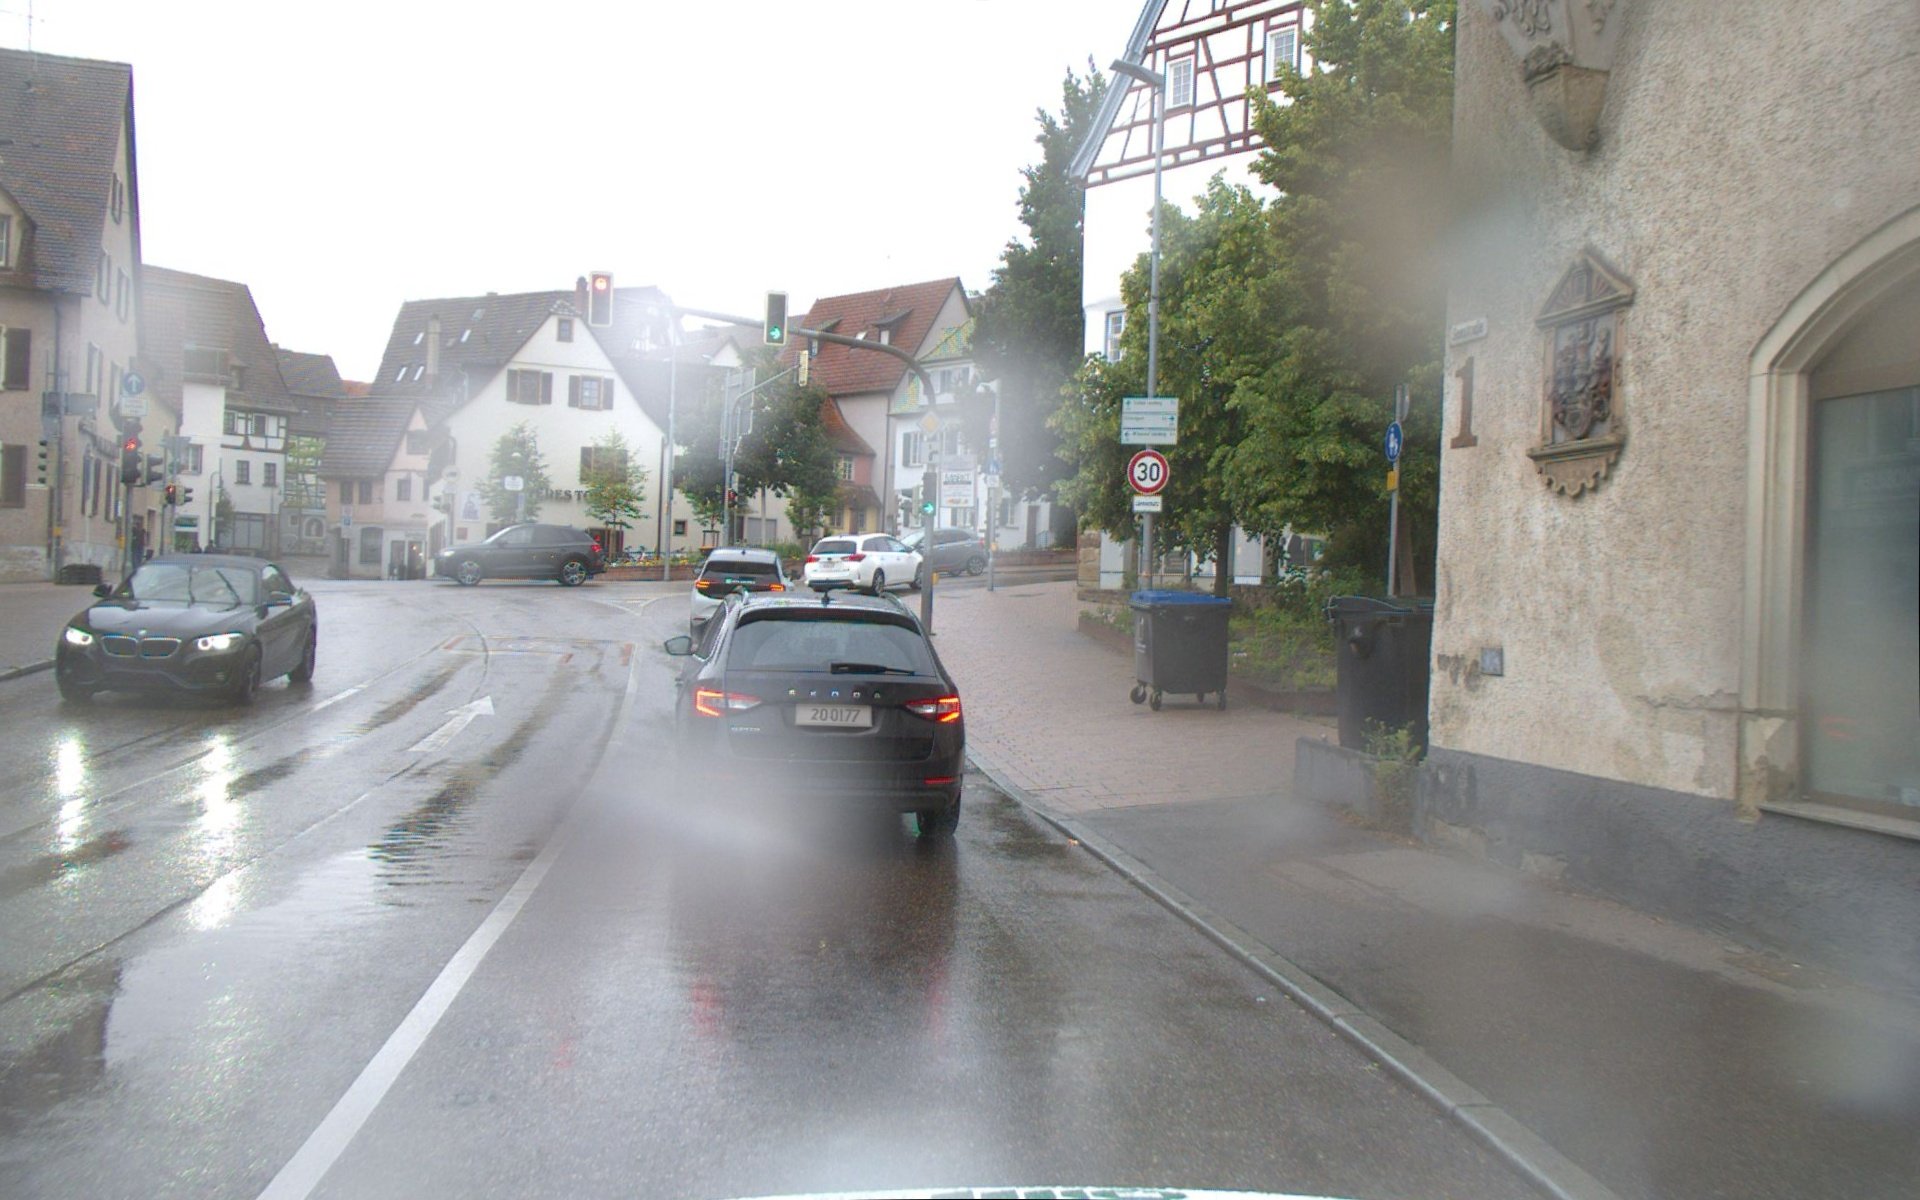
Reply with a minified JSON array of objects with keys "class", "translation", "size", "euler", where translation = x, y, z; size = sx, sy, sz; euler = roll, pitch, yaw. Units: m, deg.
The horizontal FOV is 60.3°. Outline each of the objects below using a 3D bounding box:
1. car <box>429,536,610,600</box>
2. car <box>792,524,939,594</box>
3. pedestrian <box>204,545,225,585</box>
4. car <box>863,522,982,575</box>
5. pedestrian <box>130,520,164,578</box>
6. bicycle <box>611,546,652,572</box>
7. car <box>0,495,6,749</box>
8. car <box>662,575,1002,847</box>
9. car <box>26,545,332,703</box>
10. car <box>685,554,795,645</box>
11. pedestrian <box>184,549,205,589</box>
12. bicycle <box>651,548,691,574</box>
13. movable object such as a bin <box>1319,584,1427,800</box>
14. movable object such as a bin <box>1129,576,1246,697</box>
[{"class":"car","translation":[-12.192,-0.888,45.787],"size":[4.666,1.615,1.819],"euler":[1,2,-22]},{"class":"car","translation":[-2.290,-1.004,41.287],"size":[1.848,1.623,4.323],"euler":[2,1,25]},{"class":"pedestrian","translation":[-33.341,-1.551,73.955],"size":[0.768,1.761,0.627],"euler":[-1,3,-21]},{"class":"car","translation":[-1.163,-1.563,50.655],"size":[3.326,1.503,1.528],"euler":[1,1,-18]},{"class":"pedestrian","translation":[-26.635,-1.694,54.192],"size":[0.791,1.862,0.704],"euler":[-4,4,-39]},{"class":"bicycle","translation":[-12.027,-1.491,60.638],"size":[1.457,0.927,0.387],"euler":[-1,5,-42]},{"class":"car","translation":[-6.337,0.321,7.573],"size":[1.957,1.914,4.368],"euler":[1,0,-10]},{"class":"car","translation":[-1.040,0.591,11.307],"size":[1.852,1.473,4.348],"euler":[1,1,-9]},{"class":"car","translation":[-7.909,0.173,17.200],"size":[1.827,1.411,4.252],"euler":[1,1,-11]},{"class":"car","translation":[-3.977,-0.059,30.052],"size":[1.821,1.498,3.994],"euler":[1,1,-7]},{"class":"pedestrian","translation":[-34.108,-1.375,73.658],"size":[0.768,1.761,0.627],"euler":[-1,3,-21]},{"class":"bicycle","translation":[-10.726,-1.454,61.404],"size":[1.457,0.927,0.387],"euler":[-1,5,-42]},{"class":"movable object such as a bin","translation":[2.885,0.630,11.585],"size":[0.408,1.467,0.637],"euler":[1,-2,-32]},{"class":"movable object such as a bin","translation":[2.633,0.405,19.273],"size":[1.131,1.336,1.186],"euler":[1,1,-3]}]
